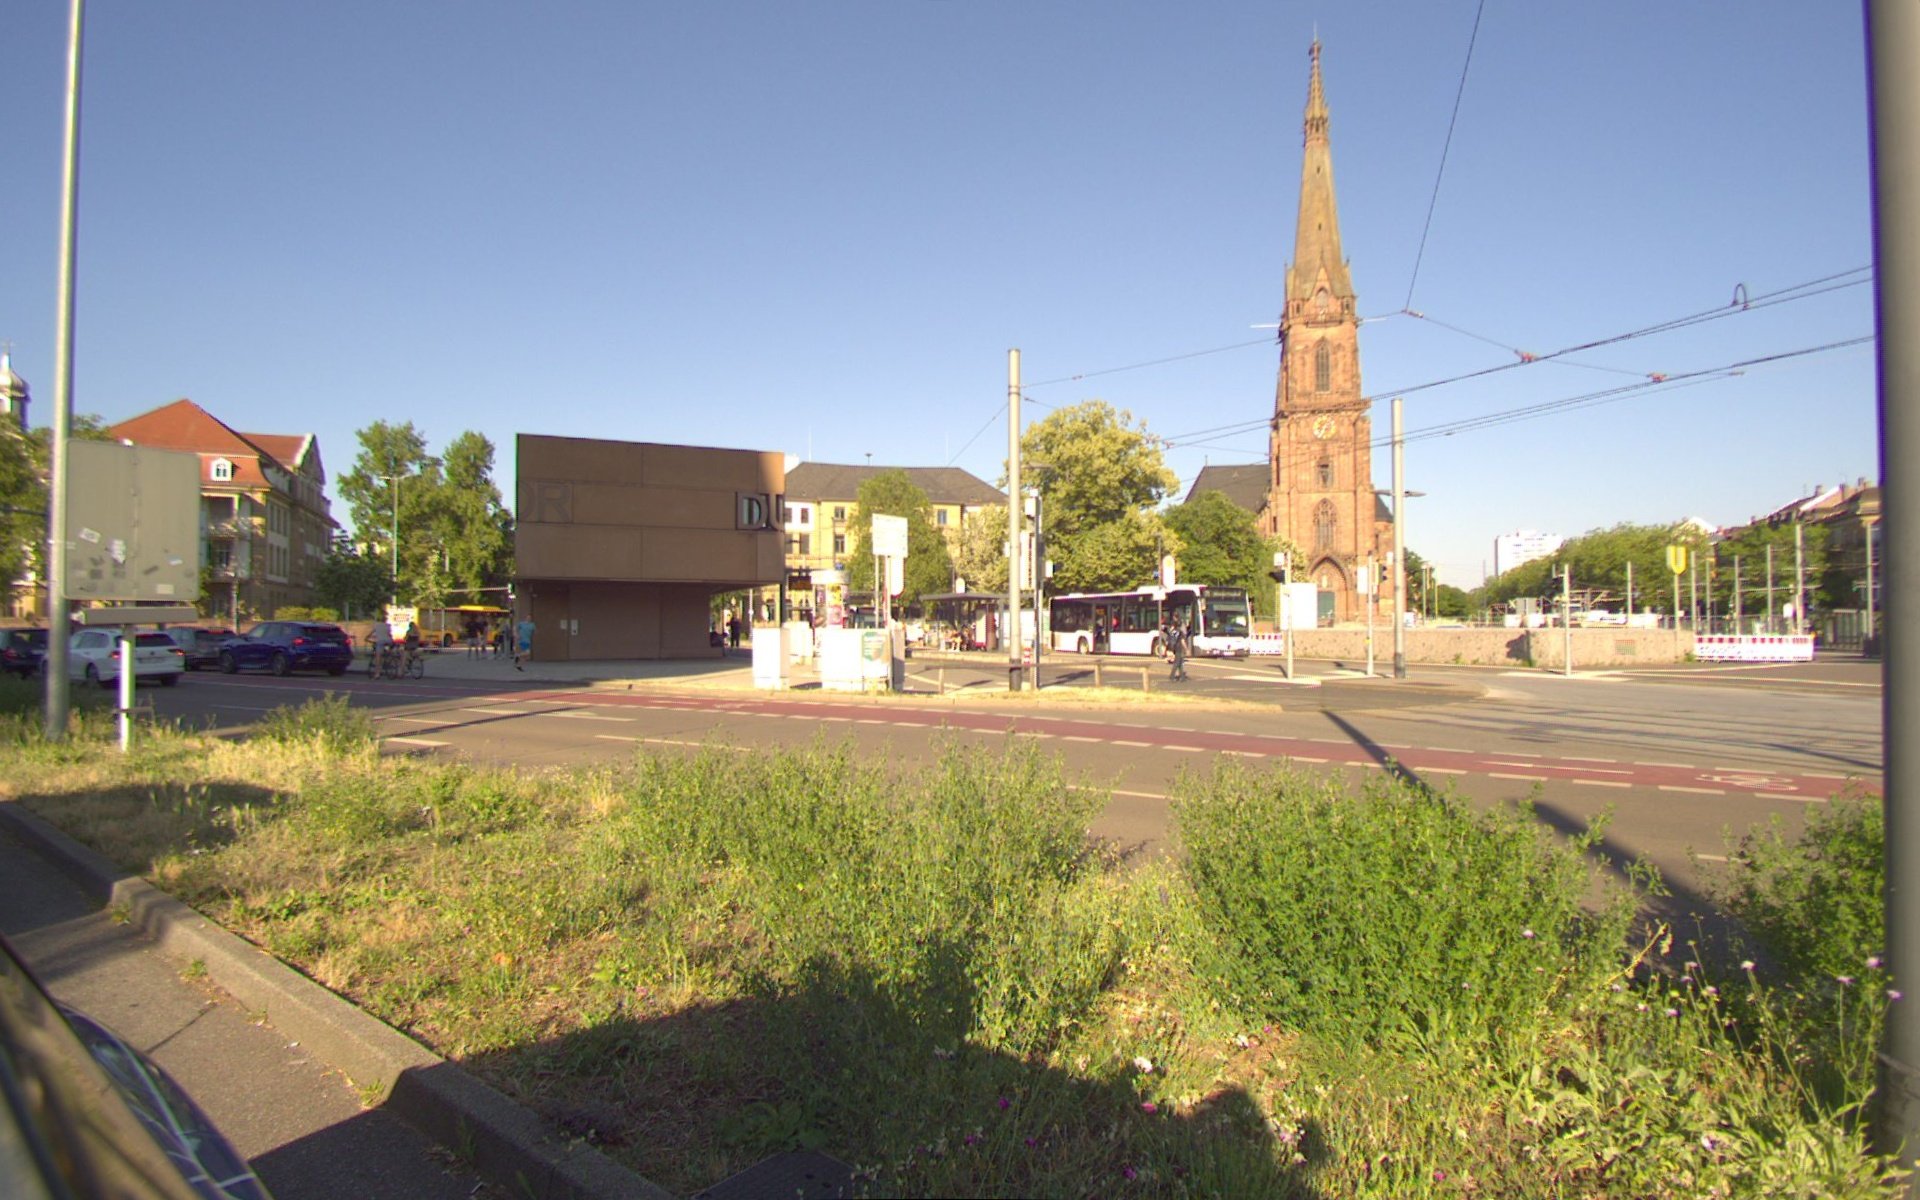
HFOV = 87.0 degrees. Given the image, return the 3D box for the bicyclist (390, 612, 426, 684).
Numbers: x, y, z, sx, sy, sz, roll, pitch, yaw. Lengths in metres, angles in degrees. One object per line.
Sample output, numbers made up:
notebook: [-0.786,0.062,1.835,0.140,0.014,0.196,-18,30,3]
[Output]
bicyclist: [-15.909,1.377,29.166,0.705,2.029,0.605,-1,-2,25]

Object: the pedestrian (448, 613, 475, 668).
pedestrian: [-18.872,1.510,38.319,0.765,2.029,0.775,-1,0,-37]

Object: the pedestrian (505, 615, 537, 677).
pedestrian: [-13.568,1.416,31.292,0.787,1.911,0.612,0,-2,-9]

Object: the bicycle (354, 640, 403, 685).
bicycle: [-16.420,1.753,28.584,1.388,1.201,0.461,-1,0,24]

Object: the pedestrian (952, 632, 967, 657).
pedestrian: [-0.020,2.204,50.056,0.531,1.196,0.660,-1,0,-21]

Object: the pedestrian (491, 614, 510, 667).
pedestrian: [-18.031,1.589,39.712,0.645,2.029,0.470,-1,0,-29]

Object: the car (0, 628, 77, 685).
car: [-26.932,1.550,28.518,4.170,1.471,1.740,-1,0,29]

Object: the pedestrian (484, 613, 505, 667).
pedestrian: [-17.797,1.507,38.694,0.645,2.029,0.470,-1,0,-29]

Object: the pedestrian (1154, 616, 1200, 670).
pedestrian: [7.069,1.370,33.001,1.025,1.696,1.007,-1,0,-25]

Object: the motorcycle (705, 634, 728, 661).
motorcycle: [-10.117,1.966,42.063,0.935,1.075,0.331,-1,0,-11]

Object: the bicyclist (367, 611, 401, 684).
bicyclist: [-16.233,1.341,28.532,0.562,2.029,0.605,-1,-2,25]

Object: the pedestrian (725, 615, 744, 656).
pedestrian: [-11.342,1.754,50.903,0.762,2.029,0.778,-1,0,-2]

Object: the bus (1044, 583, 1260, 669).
bus: [7.690,0.977,43.341,2.655,3.174,12.216,-1,0,-23]

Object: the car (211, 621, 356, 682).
car: [-20.131,1.487,30.117,4.166,1.703,1.741,-1,-1,26]

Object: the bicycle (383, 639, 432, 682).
bicycle: [-15.939,1.746,29.189,1.388,1.201,0.461,-1,0,24]

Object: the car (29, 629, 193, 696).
car: [-21.466,1.520,25.549,4.375,1.503,1.831,-1,0,30]

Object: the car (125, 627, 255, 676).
car: [-25.234,1.661,33.130,4.375,1.503,1.831,-1,-4,30]

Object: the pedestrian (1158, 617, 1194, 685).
pedestrian: [5.812,1.358,27.230,0.702,1.771,0.584,-1,0,-30]

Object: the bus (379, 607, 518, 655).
bus: [-38.309,2.214,76.588,3.049,3.236,12.521,-1,0,6]
